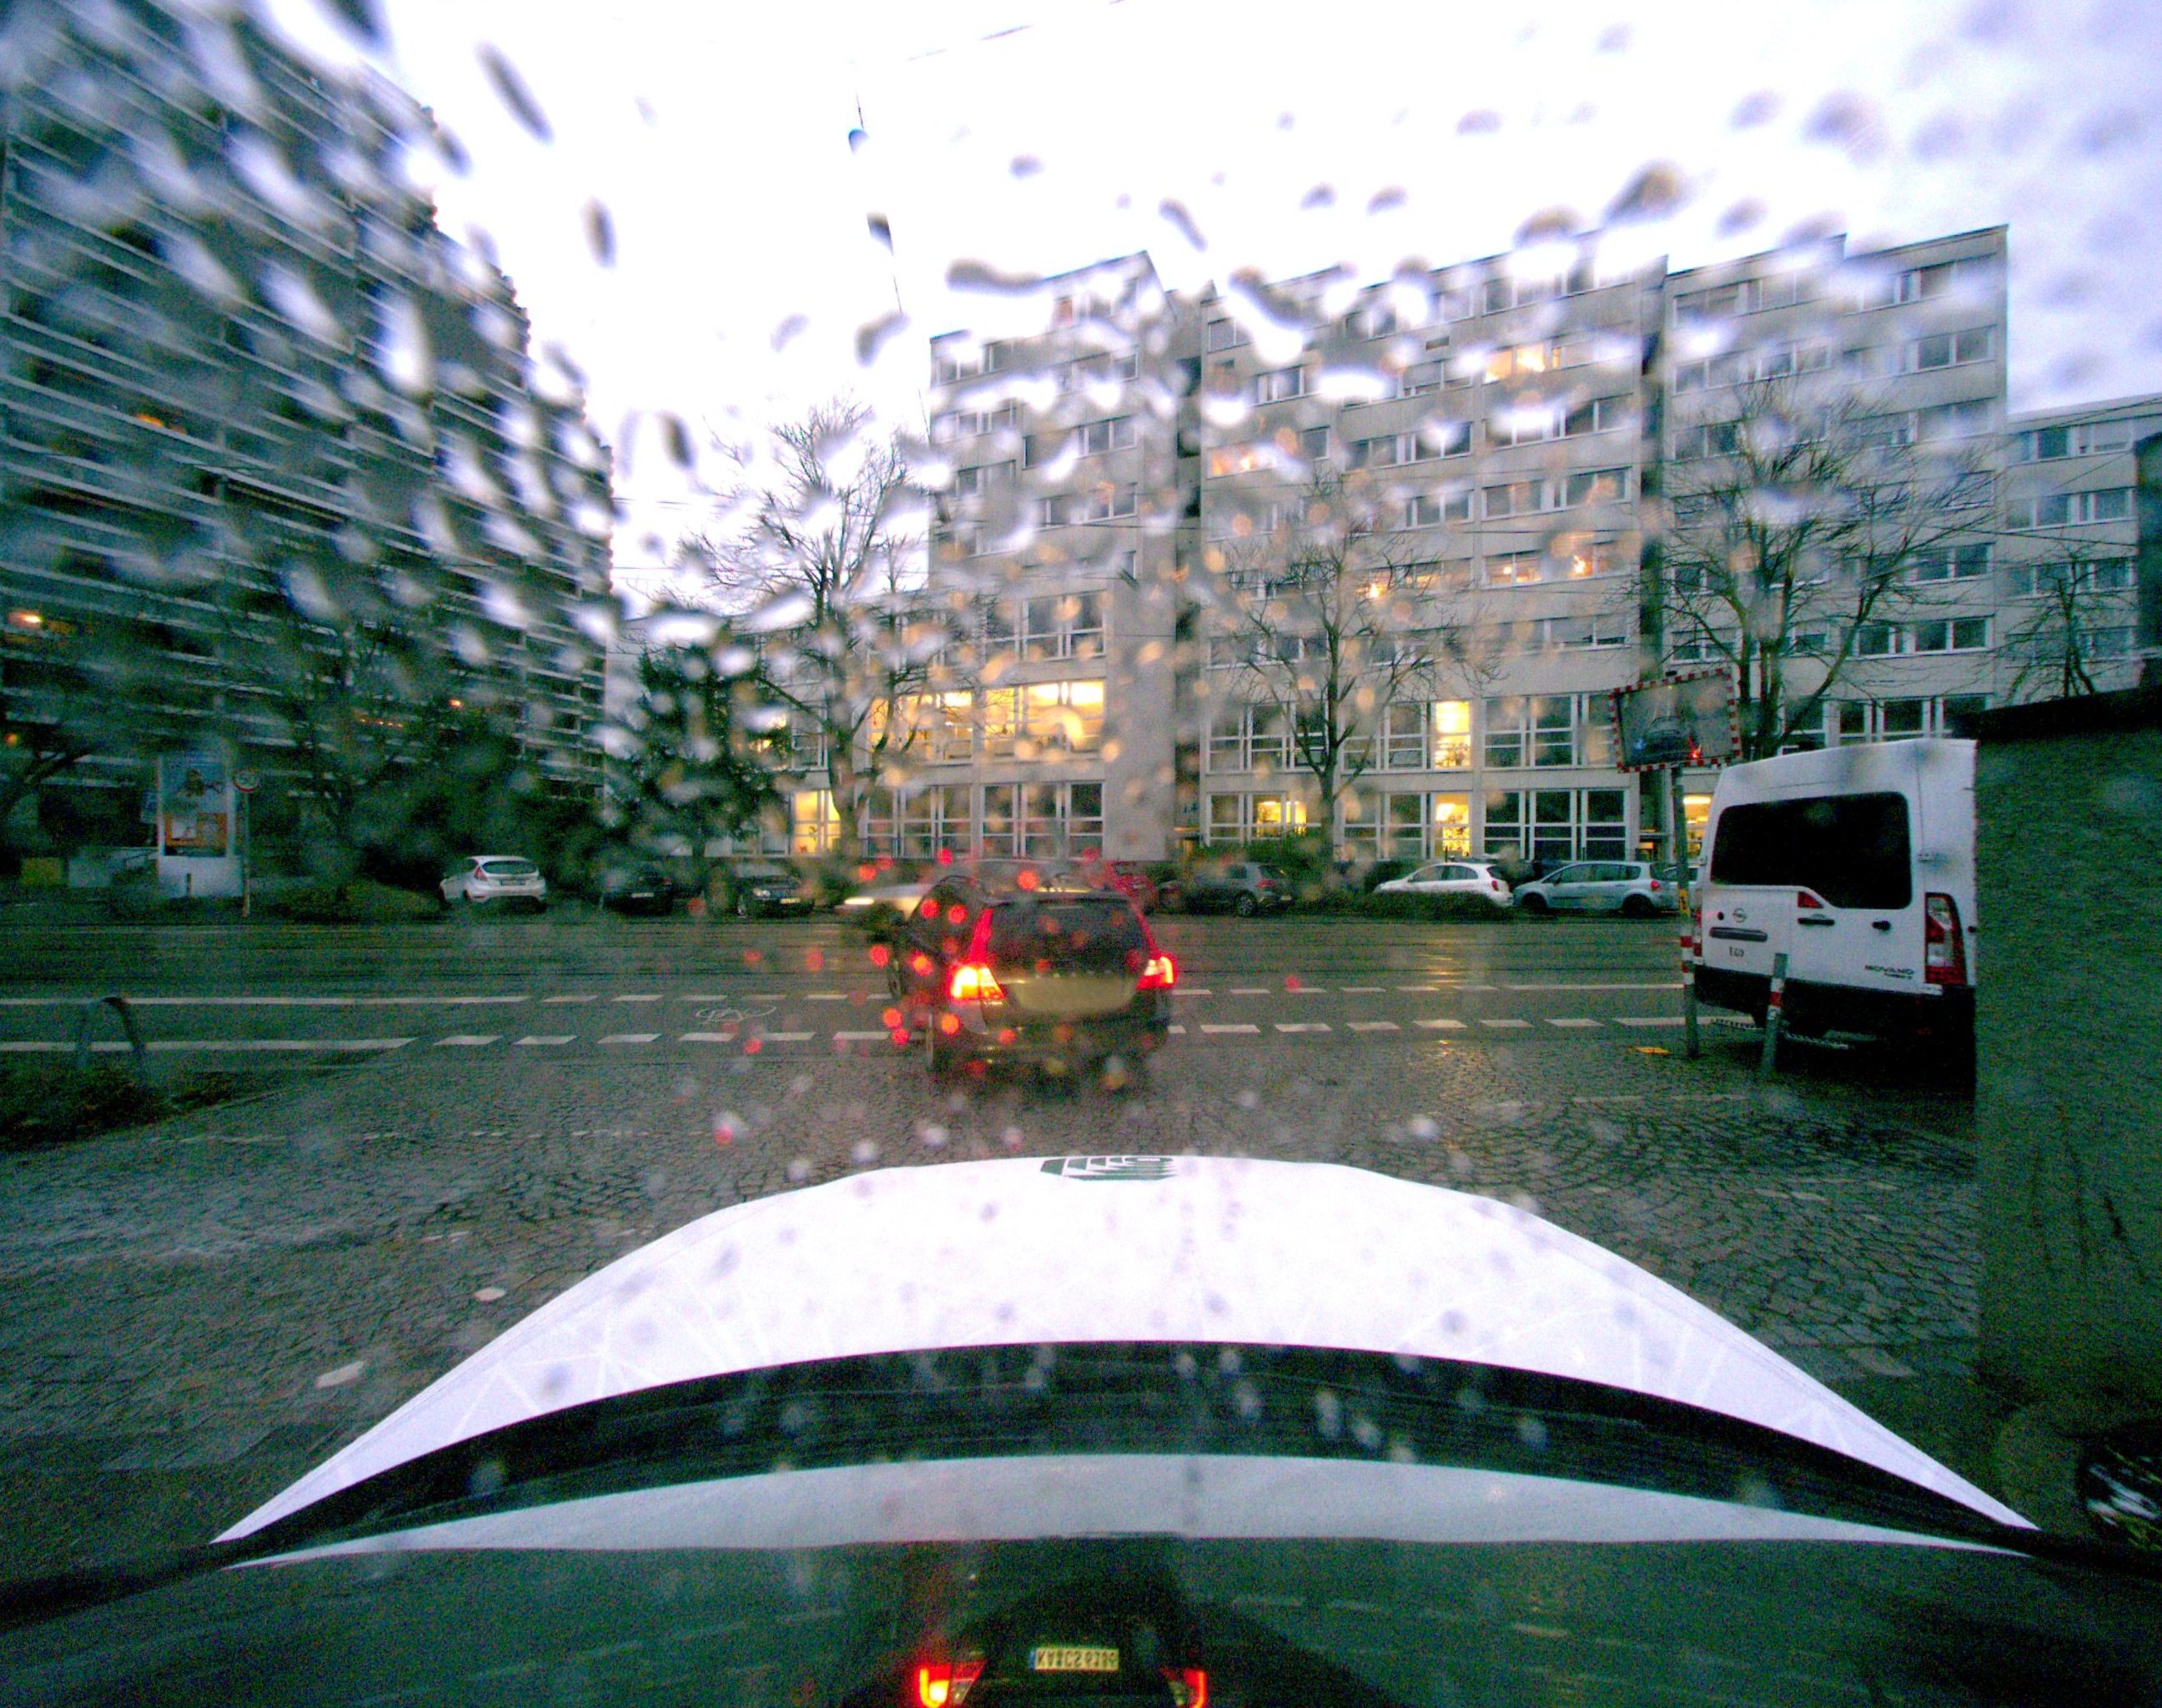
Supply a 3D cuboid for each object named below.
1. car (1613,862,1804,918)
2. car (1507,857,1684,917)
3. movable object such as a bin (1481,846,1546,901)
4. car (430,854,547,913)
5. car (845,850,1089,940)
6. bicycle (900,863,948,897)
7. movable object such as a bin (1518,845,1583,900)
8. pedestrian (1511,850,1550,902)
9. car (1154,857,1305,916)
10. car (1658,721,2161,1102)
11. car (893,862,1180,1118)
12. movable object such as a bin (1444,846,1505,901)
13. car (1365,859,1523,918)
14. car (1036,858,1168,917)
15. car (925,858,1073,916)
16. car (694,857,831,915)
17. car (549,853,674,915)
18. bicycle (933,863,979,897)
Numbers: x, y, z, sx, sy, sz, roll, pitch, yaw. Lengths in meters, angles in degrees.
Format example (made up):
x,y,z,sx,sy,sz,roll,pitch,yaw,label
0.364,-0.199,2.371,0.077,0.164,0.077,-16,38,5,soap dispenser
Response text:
x,y,z,sx,sy,sz,roll,pitch,yaw,label
17.595,0.969,22.998,1.744,1.444,3.956,2,-2,-36,car
14.478,0.875,23.057,3.950,1.563,1.747,-1,-1,45,car
15.165,0.667,28.639,1.385,1.860,1.573,-1,-1,-3,movable object such as a bin
-15.598,0.718,21.371,3.950,1.400,1.867,-1,-1,45,car
-2.095,0.736,15.562,4.357,1.579,1.709,0,-1,-5,car
-5.534,0.898,28.890,0.635,1.120,2.216,-1,-1,19,bicycle
16.509,0.641,28.709,1.310,1.860,1.573,-1,-1,-3,movable object such as a bin
14.891,0.722,26.980,0.968,1.677,0.598,0,-1,-4,pedestrian
4.065,0.849,22.597,3.805,1.493,1.706,-1,-1,43,car
8.082,0.361,6.700,5.414,2.487,2.126,0,-1,-7,car
-0.727,0.899,7.558,1.751,1.544,4.272,0,1,-16,car
13.777,0.677,28.543,1.310,1.860,1.573,-1,-1,-3,movable object such as a bin
10.418,0.932,23.524,3.827,1.551,1.703,-1,-1,42,car
0.540,0.875,22.681,3.408,1.493,1.740,-1,-1,45,car
-2.290,0.848,22.249,3.949,1.446,1.804,-1,-1,40,car
-8.373,0.780,21.251,3.950,1.379,1.867,-1,-1,45,car
-12.325,0.740,21.283,3.950,1.462,1.867,-1,-1,45,car
-4.360,0.896,28.538,0.635,1.120,2.216,-1,-1,19,bicycle
